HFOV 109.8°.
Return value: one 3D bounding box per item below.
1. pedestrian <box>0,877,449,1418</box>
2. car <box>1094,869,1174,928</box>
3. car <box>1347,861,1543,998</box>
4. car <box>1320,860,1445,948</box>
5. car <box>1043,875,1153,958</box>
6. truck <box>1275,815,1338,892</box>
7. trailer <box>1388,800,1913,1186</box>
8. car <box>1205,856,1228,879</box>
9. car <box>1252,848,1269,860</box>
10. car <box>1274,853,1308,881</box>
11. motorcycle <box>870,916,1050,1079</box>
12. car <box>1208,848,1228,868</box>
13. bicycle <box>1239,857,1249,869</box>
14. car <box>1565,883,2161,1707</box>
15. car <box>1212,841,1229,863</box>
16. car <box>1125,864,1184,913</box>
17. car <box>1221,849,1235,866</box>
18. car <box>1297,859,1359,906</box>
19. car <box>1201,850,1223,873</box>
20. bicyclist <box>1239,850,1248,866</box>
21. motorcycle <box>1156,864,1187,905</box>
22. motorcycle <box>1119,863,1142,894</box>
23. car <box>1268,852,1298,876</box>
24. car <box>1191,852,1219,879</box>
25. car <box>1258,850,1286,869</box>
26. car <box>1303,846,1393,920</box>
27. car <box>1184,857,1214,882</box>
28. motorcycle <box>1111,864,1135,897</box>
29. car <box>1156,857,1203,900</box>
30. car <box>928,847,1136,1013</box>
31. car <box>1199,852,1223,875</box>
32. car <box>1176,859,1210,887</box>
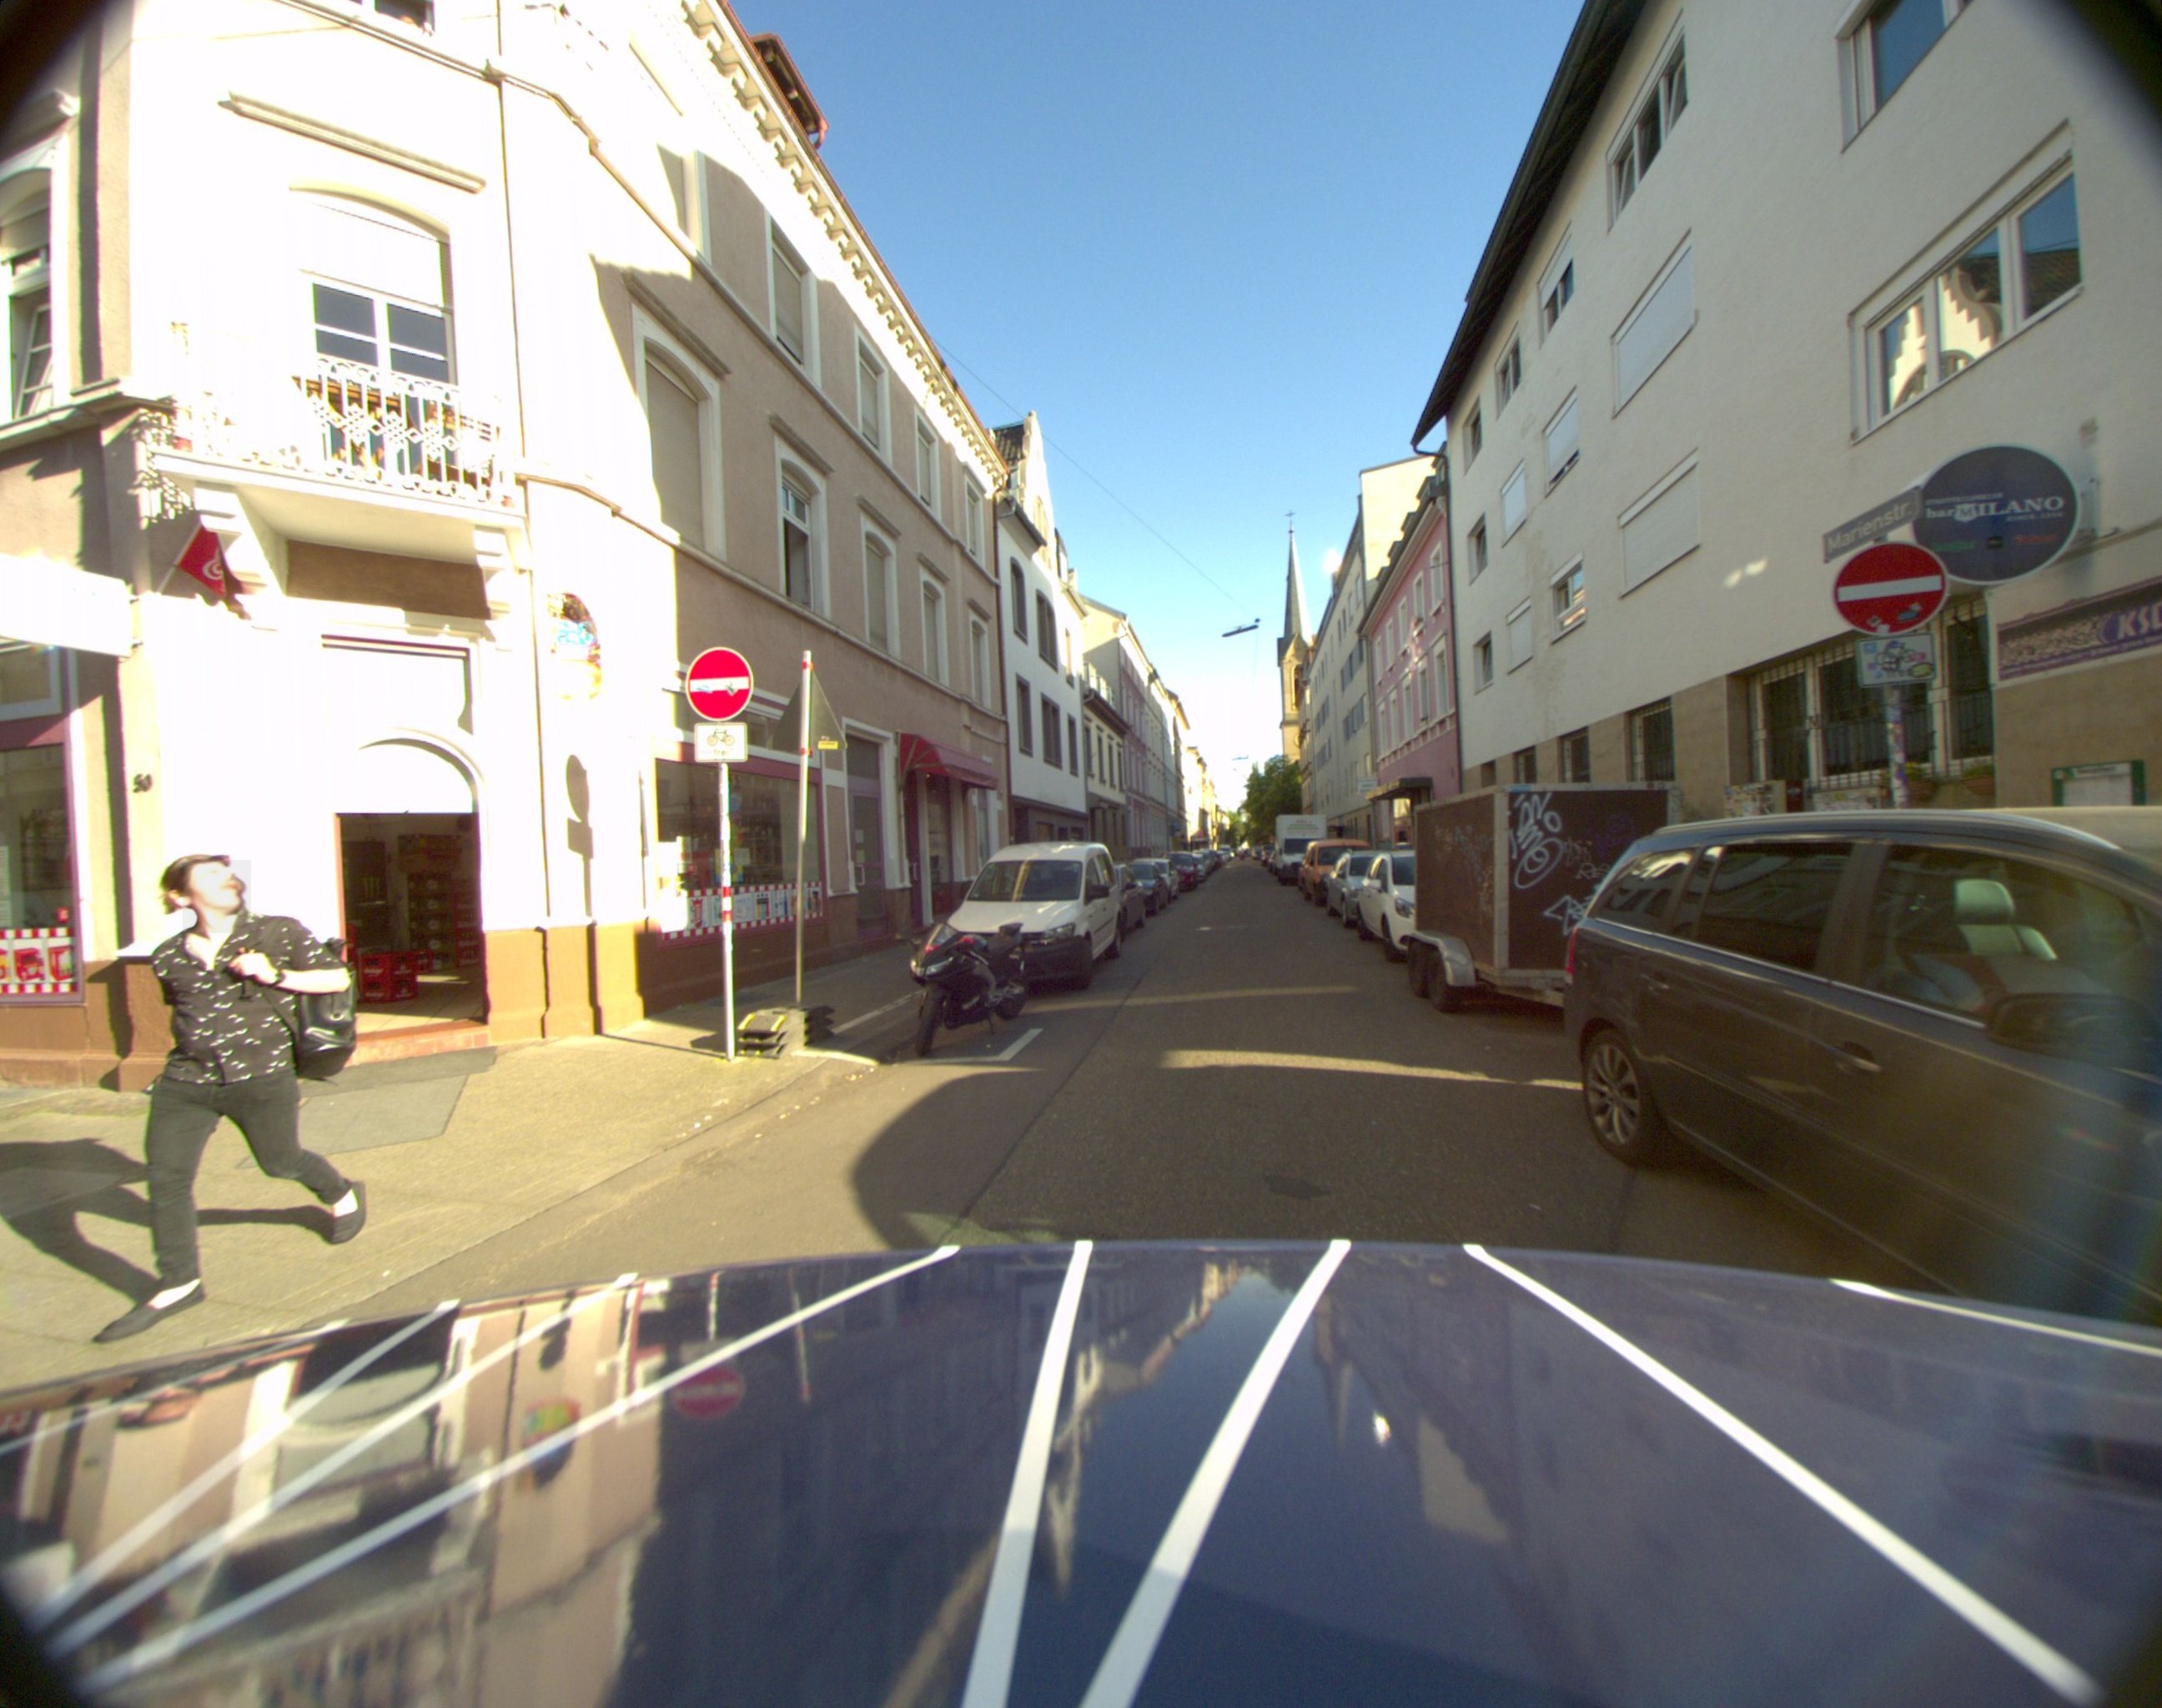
[{"bbox_3d":[-3.373,1.002,3.046,0.828,1.782,0.989,0,1,-3],"label":"pedestrian"},{"bbox_3d":[1.593,1.187,21.515,1.734,1.387,3.885,-1,0,12],"label":"car"},{"bbox_3d":[4.997,0.926,10.978,1.679,1.545,3.821,-1,0,12],"label":"car"},{"bbox_3d":[6.160,0.935,16.025,1.676,1.488,4.534,-1,0,12],"label":"car"},{"bbox_3d":[0.489,1.219,16.123,1.611,1.400,3.885,-1,0,12],"label":"car"},{"bbox_3d":[10.348,-0.048,35.386,2.294,3.165,7.051,-2,0,13],"label":"truck"},{"bbox_3d":[3.943,0.737,6.308,1.664,2.049,4.367,-1,0,10],"label":"trailer"},{"bbox_3d":[13.061,1.241,73.354,1.997,2.002,4.567,-4,0,10],"label":"car"},{"bbox_3d":[26.323,-0.005,111.438,1.925,1.522,4.567,-4,0,9],"label":"car"},{"bbox_3d":[12.519,0.735,45.438,1.685,1.579,3.917,0,1,12],"label":"car"},{"bbox_3d":[-1.046,1.239,7.146,0.719,1.080,1.999,1,2,23],"label":"motorcycle"},{"bbox_3d":[15.426,0.439,85.813,1.997,2.002,4.567,-4,0,9],"label":"car"},{"bbox_3d":[24.083,1.253,112.067,1.019,1.641,3.550,-4,0,7],"label":"bicycle"},{"bbox_3d":[3.049,0.947,1.825,1.725,1.596,4.170,-1,0,10],"label":"car"},{"bbox_3d":[18.883,-0.275,103.008,1.997,2.776,4.567,-4,0,9],"label":"car"},{"bbox_3d":[2.617,1.153,26.383,1.618,1.495,3.776,-1,0,12],"label":"car"},{"bbox_3d":[24.766,0.530,128.431,1.997,2.776,4.567,-4,0,9],"label":"car"},{"bbox_3d":[8.790,0.974,27.246,1.685,1.458,3.663,-2,0,12],"label":"car"},{"bbox_3d":[11.175,0.615,64.768,1.712,1.802,4.224,-1,0,12],"label":"car"},{"bbox_3d":[24.014,0.556,112.051,1.019,2.280,1.533,-4,0,7],"label":"bicyclist"},{"bbox_3d":[3.569,1.169,29.850,0.989,1.481,2.269,-1,1,12],"label":"motorcycle"},{"bbox_3d":[2.397,1.160,36.624,0.696,1.388,2.039,-4,0,12],"label":"motorcycle"},{"bbox_3d":[13.563,0.640,51.195,1.685,1.482,3.917,0,1,12],"label":"car"},{"bbox_3d":[8.658,0.784,52.957,1.712,1.721,4.224,-1,0,12],"label":"car"},{"bbox_3d":[17.000,0.454,67.814,1.925,1.522,4.567,-4,0,9],"label":"car"},{"bbox_3d":[7.364,0.729,21.334,1.805,1.834,4.247,-2,0,12],"label":"car"},{"bbox_3d":[7.521,0.958,48.194,1.611,1.444,3.885,-1,0,12],"label":"car"},{"bbox_3d":[1.915,1.184,34.448,0.666,1.388,2.039,-4,0,12],"label":"motorcycle"},{"bbox_3d":[4.453,1.018,33.895,1.712,1.721,4.411,-1,0,12],"label":"car"},{"bbox_3d":[-0.408,0.823,10.599,1.751,1.806,4.373,-1,0,12],"label":"car"},{"bbox_3d":[10.225,0.715,59.587,1.712,1.721,4.224,-1,0,12],"label":"car"},{"bbox_3d":[6.173,1.031,41.688,1.611,1.387,3.885,-1,0,12],"label":"car"}]
